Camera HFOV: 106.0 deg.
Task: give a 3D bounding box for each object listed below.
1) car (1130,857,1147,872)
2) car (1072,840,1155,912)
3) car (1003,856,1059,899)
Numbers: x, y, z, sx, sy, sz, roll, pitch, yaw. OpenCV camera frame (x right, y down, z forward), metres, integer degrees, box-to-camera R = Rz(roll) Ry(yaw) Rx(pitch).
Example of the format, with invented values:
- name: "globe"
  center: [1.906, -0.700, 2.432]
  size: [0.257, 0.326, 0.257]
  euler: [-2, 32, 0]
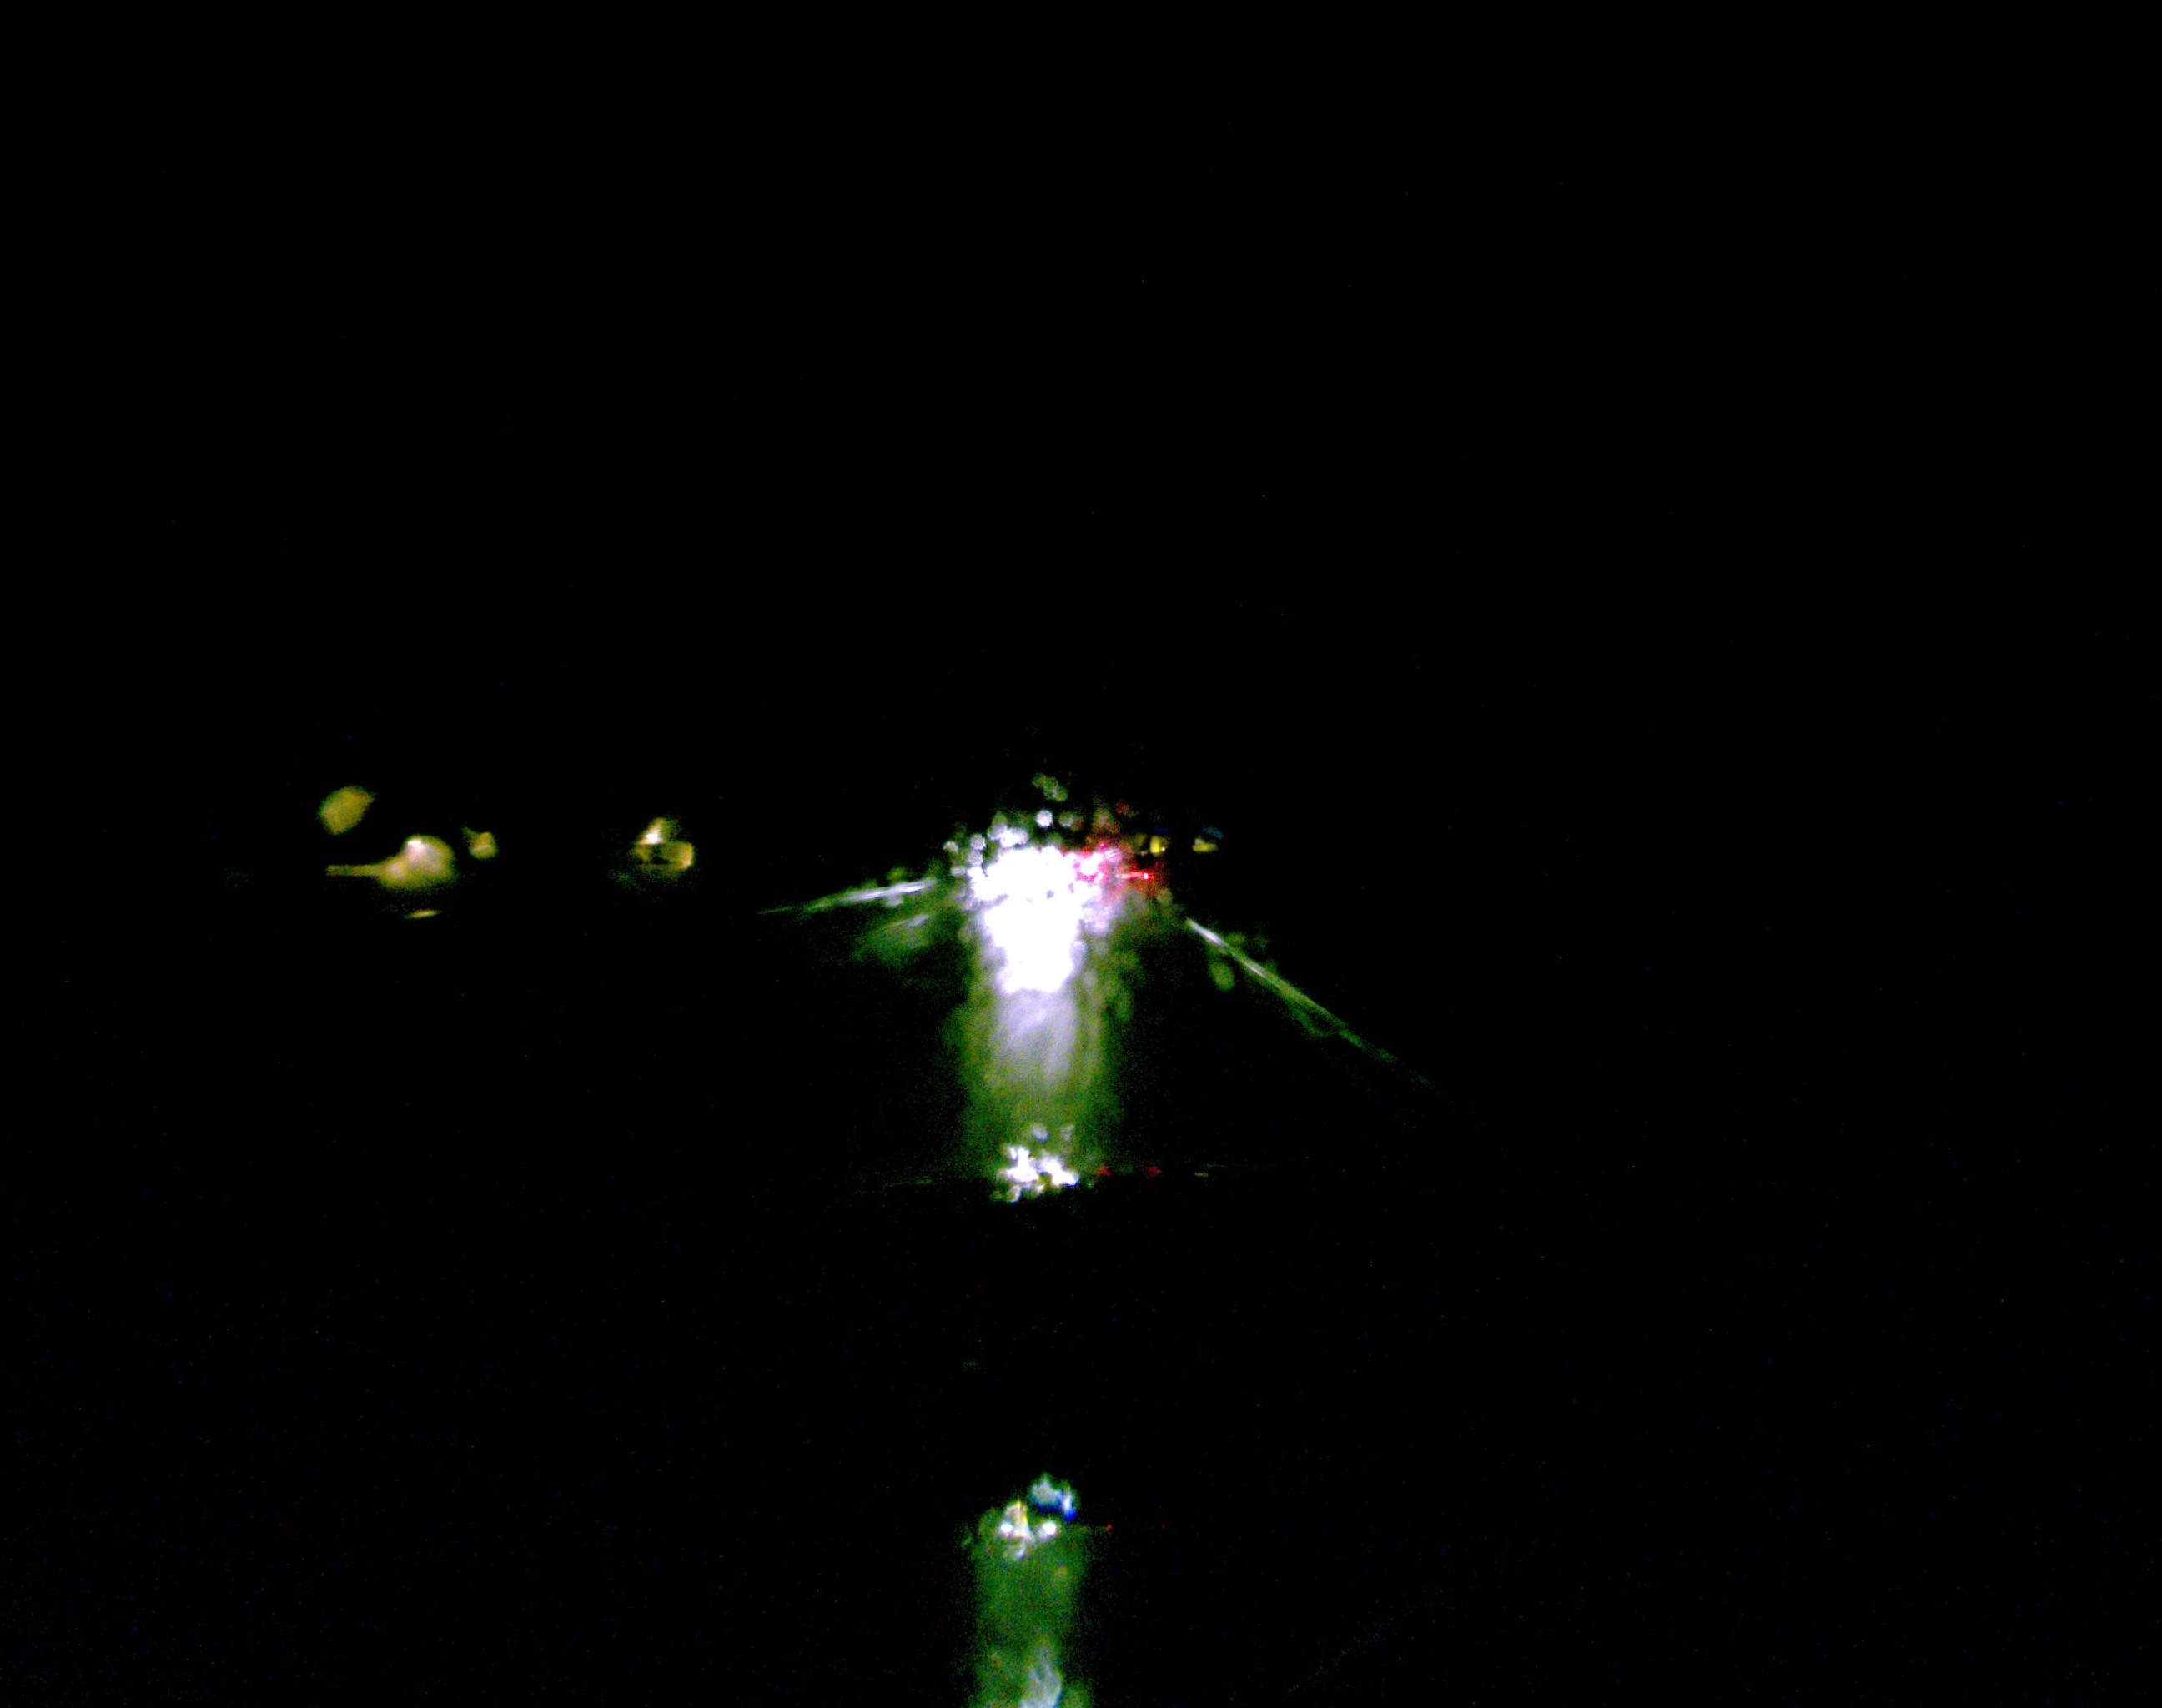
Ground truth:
- name: "car"
  center: [7.570, 1.407, 107.441]
  size: [1.986, 1.915, 4.002]
  euler: [0, -1, 2]
- name: "car"
  center: [1.249, 0.683, 29.755]
  size: [2.704, 2.307, 6.106]
  euler: [-1, 0, 3]
- name: "car"
  center: [-2.033, 0.962, 34.259]
  size: [1.882, 1.637, 4.158]
  euler: [-2, -1, 2]
